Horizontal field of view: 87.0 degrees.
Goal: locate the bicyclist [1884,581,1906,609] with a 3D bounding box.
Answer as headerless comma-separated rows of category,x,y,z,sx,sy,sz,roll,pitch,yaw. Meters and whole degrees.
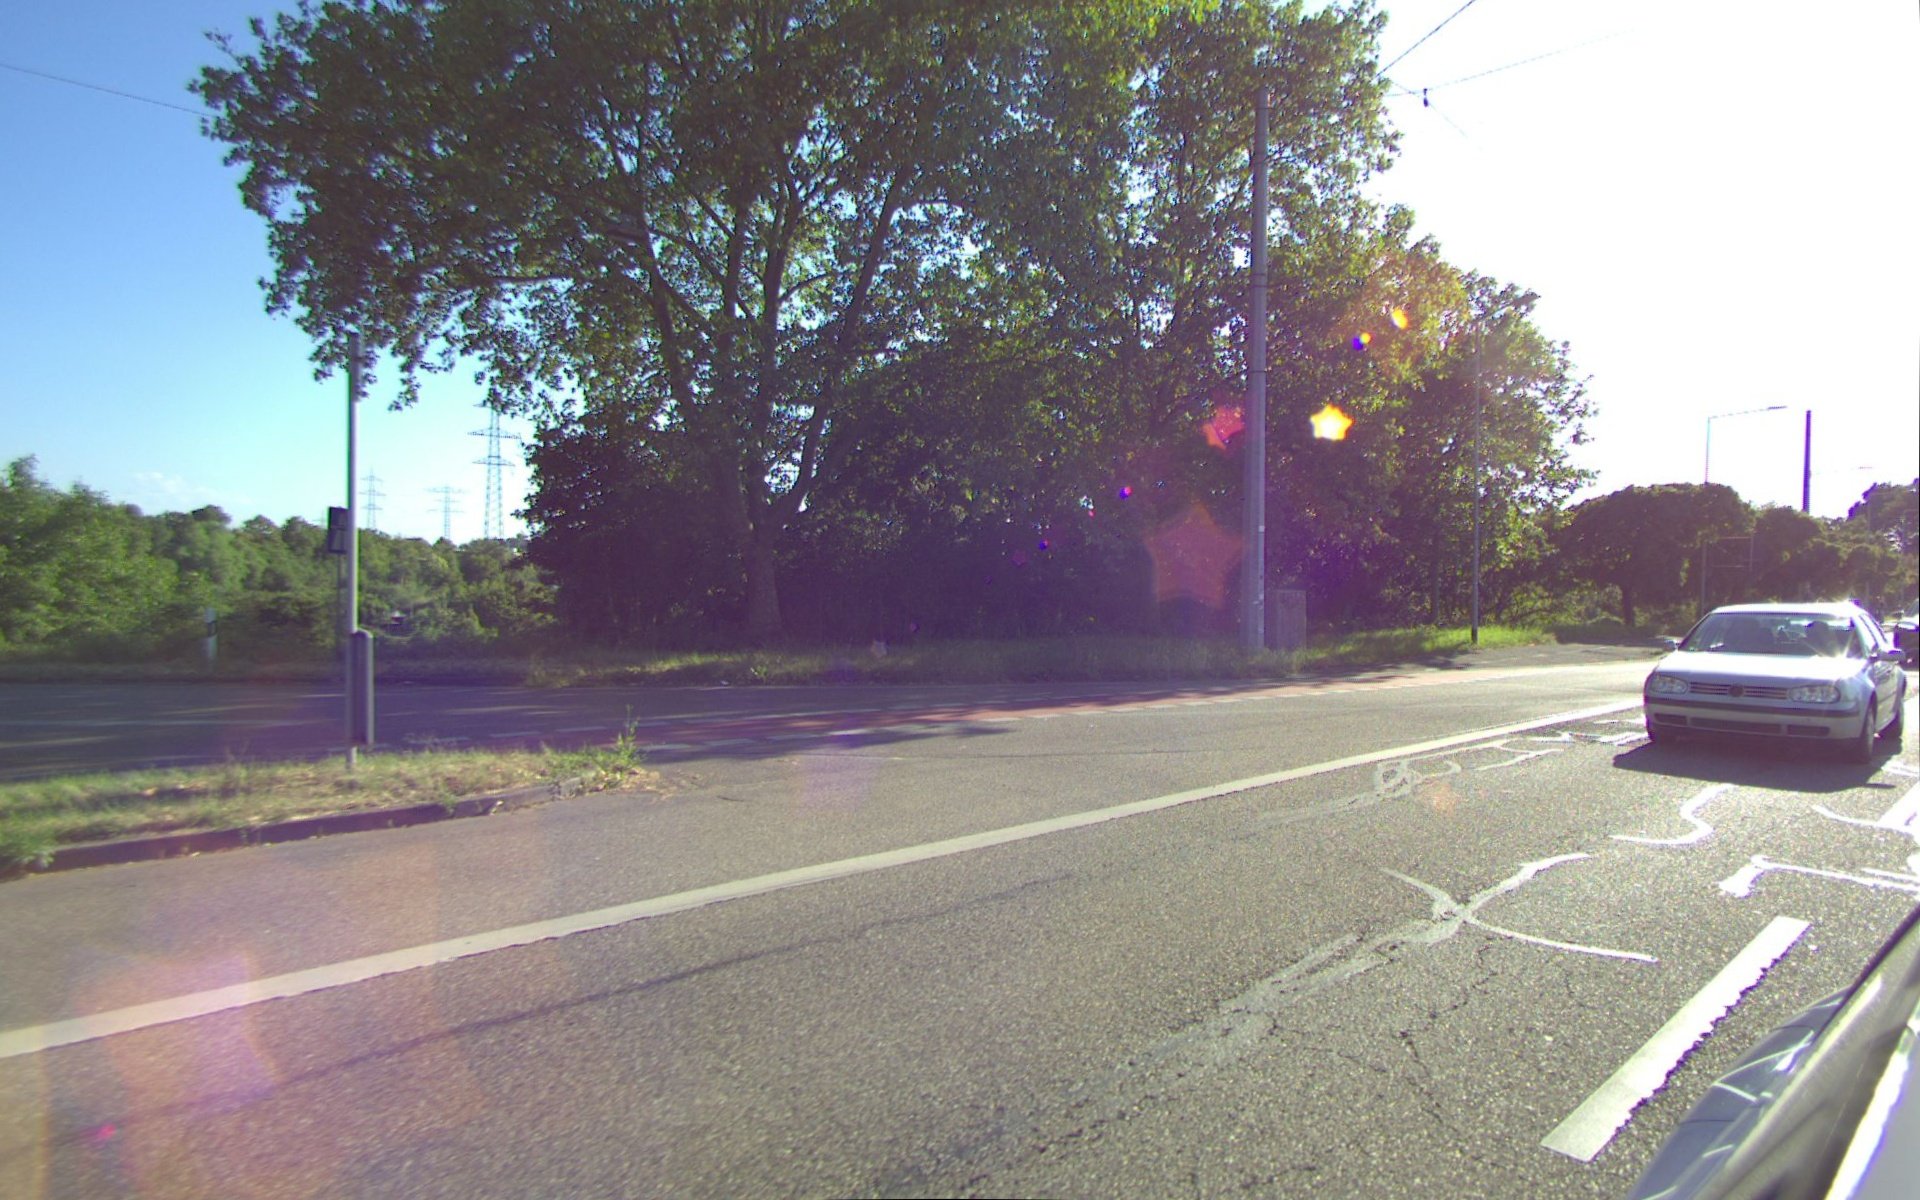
bicyclist,52.467,-0.303,56.798,1.041,1.488,0.629,0,5,-39

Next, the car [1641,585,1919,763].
car,8.645,0.593,10.401,3.930,1.463,1.694,-1,1,-40

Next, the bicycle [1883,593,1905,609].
bicycle,52.397,0.034,56.774,1.605,0.844,0.629,-1,5,-39

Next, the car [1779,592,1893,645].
car,27.404,0.523,31.618,4.575,1.461,1.881,-1,1,-38

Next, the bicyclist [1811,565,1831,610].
bicyclist,39.478,-0.549,46.398,0.716,2.042,0.528,0,-1,-39

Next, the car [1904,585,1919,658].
car,23.666,0.477,23.586,4.338,1.620,1.881,-1,1,-39

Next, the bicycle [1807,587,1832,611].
bicycle,39.252,-0.058,46.201,1.936,1.074,0.528,0,-1,-39
